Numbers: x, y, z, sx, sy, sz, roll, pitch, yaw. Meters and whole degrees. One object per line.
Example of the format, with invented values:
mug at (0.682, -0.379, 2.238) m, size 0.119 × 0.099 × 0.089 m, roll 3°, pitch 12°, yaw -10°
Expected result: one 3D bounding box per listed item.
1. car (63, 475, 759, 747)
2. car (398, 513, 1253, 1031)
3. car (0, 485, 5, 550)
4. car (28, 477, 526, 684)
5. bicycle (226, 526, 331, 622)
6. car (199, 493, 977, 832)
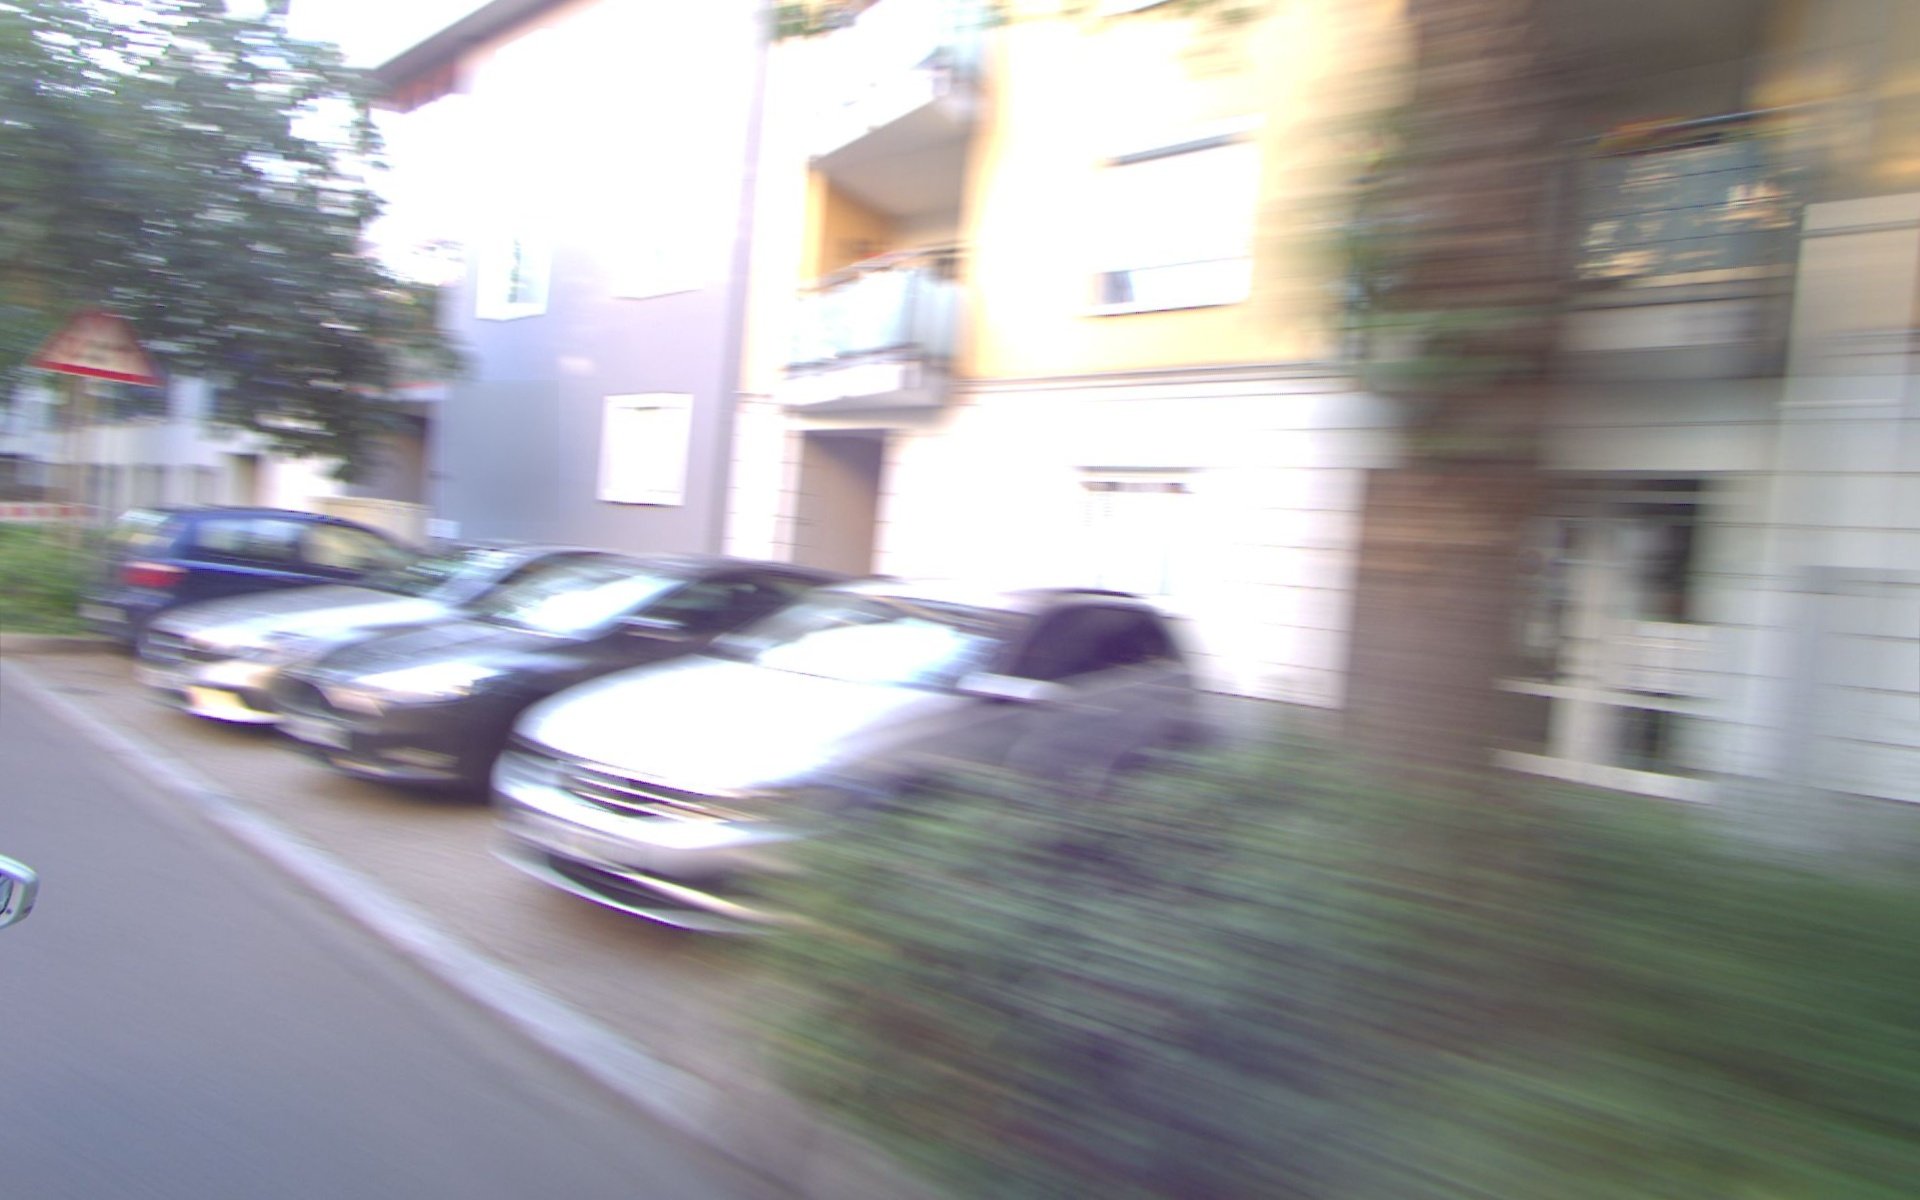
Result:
car at (-4.156, 0.153, 8.401) m, size 1.980 × 1.591 × 4.620 m, roll 7°, pitch 0°, yaw 37°
car at (-0.190, 0.587, 5.520) m, size 1.931 × 1.522 × 4.619 m, roll 7°, pitch 1°, yaw 35°
car at (-29.329, -2.562, 27.851) m, size 1.972 × 1.828 × 3.980 m, roll 7°, pitch 1°, yaw 41°
car at (-6.407, -0.104, 9.749) m, size 1.804 × 1.584 × 3.537 m, roll 6°, pitch 1°, yaw 37°
bicycle at (-10.234, -0.400, 15.087) m, size 1.778 × 1.251 × 0.826 m, roll 7°, pitch 2°, yaw 41°
car at (-2.165, 0.397, 7.146) m, size 1.962 × 1.539 × 4.778 m, roll 7°, pitch 0°, yaw 38°
